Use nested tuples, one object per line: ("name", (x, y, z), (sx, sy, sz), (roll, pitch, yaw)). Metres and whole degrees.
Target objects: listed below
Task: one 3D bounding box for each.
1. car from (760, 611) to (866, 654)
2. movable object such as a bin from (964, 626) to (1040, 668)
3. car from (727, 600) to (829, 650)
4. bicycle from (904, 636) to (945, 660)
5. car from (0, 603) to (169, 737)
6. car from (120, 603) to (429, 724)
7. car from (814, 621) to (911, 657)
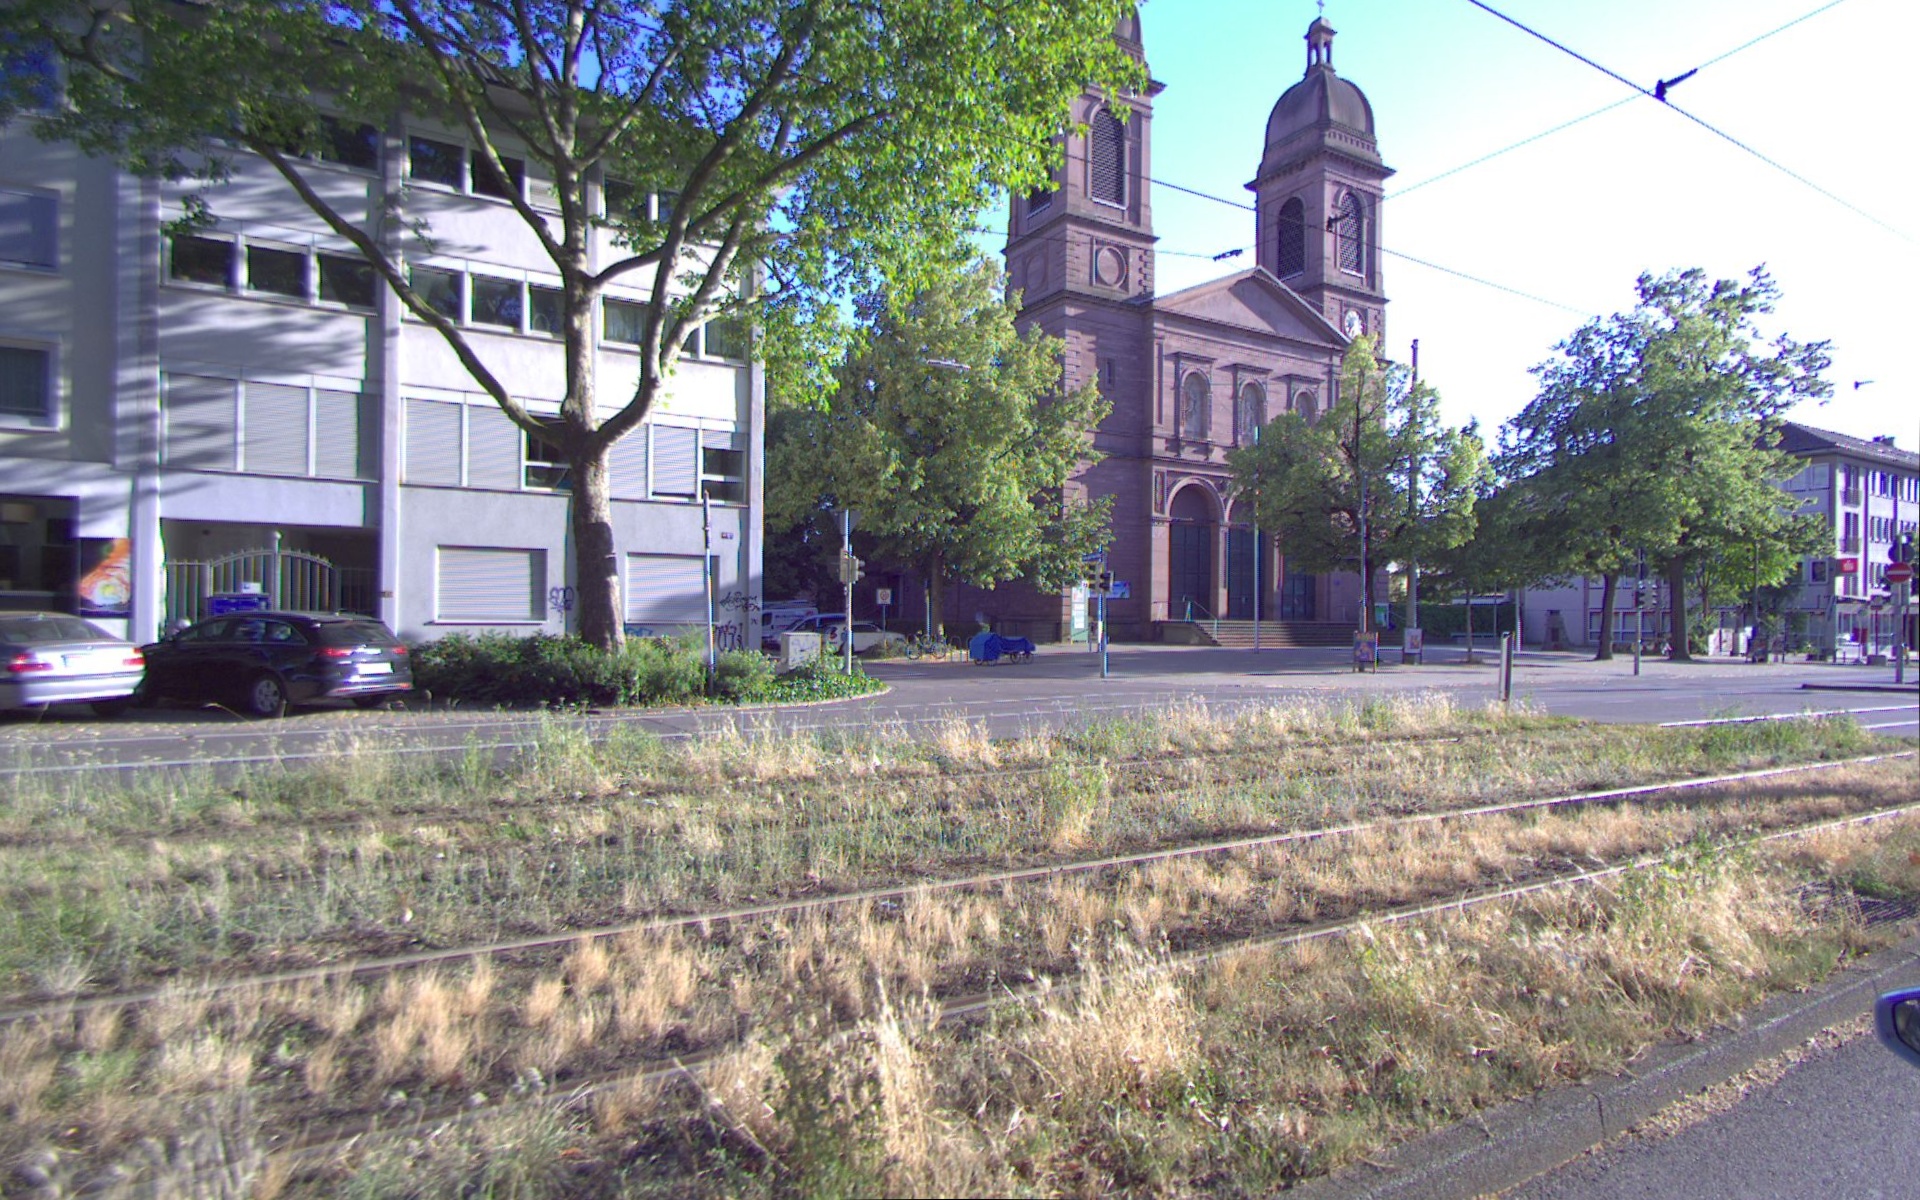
("car", (-7.703, 1.702, 52.754), (5.120, 2.040, 1.982), (2, 1, -33))
("movable object such as a bin", (1.466, 1.604, 35.038), (2.416, 1.228, 1.102), (-3, 3, -30))
("car", (-10.419, 1.418, 57.577), (5.380, 2.710, 1.980), (1, 1, -35))
("bicycle", (-1.395, 1.873, 39.326), (1.517, 0.905, 0.465), (2, 1, -26))
("car", (-12.967, 0.848, 13.597), (3.921, 1.460, 1.722), (2, 1, 20))
("car", (-10.343, 0.875, 15.212), (3.920, 1.499, 1.818), (2, 1, 18))
("car", (-4.482, 1.793, 46.222), (3.952, 1.479, 1.984), (2, 1, -30))
